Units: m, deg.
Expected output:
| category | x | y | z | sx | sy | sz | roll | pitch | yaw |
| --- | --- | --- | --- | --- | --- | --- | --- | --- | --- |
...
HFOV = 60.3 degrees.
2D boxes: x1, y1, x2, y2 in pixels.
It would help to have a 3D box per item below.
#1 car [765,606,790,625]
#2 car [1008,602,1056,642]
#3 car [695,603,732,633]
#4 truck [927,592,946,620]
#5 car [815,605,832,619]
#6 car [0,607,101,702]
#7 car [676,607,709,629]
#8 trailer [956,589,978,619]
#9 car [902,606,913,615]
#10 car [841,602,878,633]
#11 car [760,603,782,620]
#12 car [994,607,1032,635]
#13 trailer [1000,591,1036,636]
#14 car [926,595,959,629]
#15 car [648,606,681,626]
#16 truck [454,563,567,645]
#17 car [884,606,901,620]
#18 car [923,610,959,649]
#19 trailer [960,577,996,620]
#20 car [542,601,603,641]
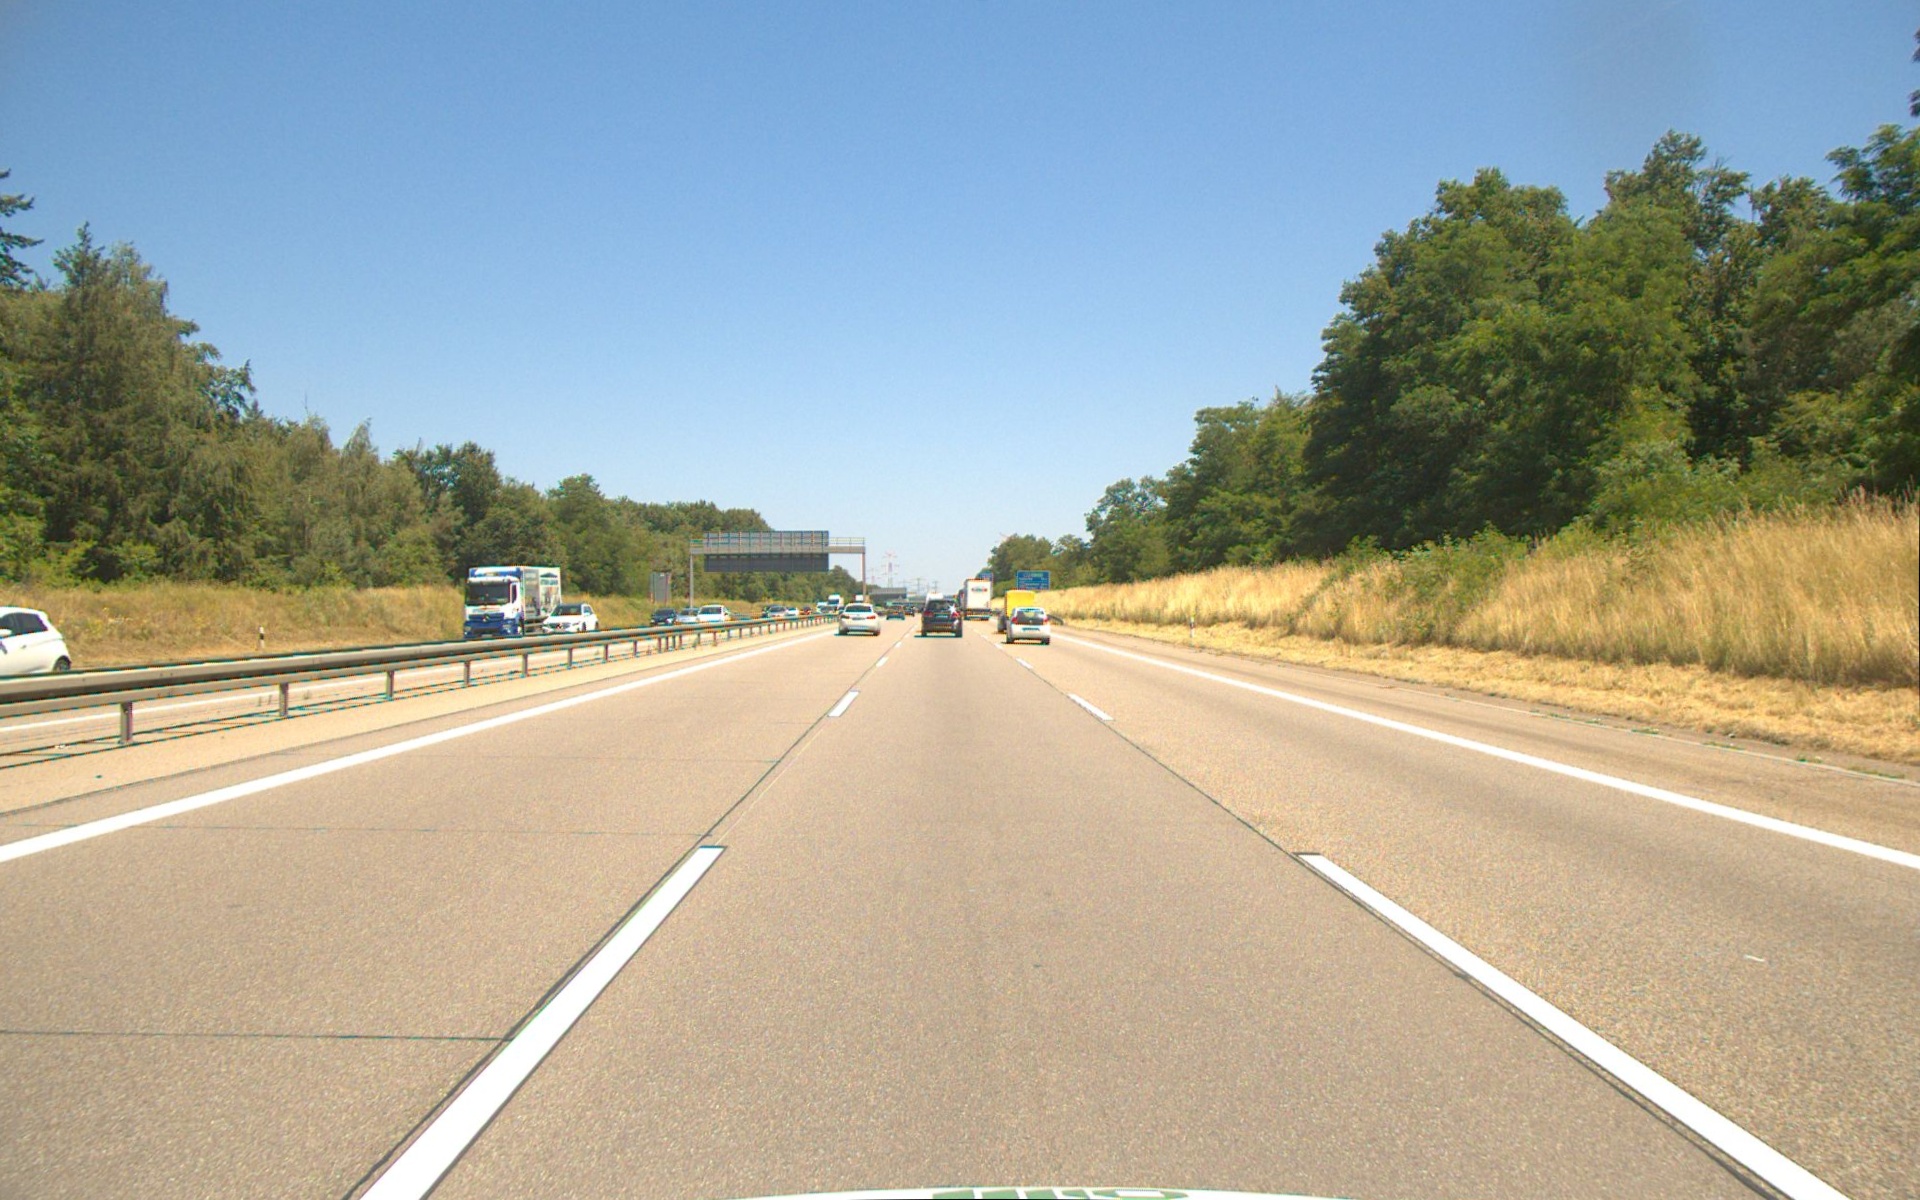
| category | x | y | z | sx | sy | sz | roll | pitch | yaw |
| --- | --- | --- | --- | --- | --- | --- | --- | --- | --- |
| car | -15.801 | 1.316 | 143.371 | 1.726 | 1.485 | 5.119 | -3 | 0 | -2 |
| car | 2.847 | 0.857 | 66.100 | 1.673 | 1.521 | 4.023 | 1 | 0 | -1 |
| car | -13.393 | 0.969 | 90.123 | 1.486 | 1.493 | 3.639 | -3 | 0 | -1 |
| truck | -2.557 | 0.685 | 179.575 | 2.018 | 2.965 | 7.001 | 0 | -1 | -1 |
| car | -16.049 | 1.404 | 194.484 | 1.664 | 1.454 | 4.572 | -3 | 0 | -2 |
| car | -16.952 | 0.967 | 28.881 | 1.572 | 1.586 | 4.468 | -3 | 0 | -1 |
| car | -18.806 | 1.247 | 116.450 | 1.726 | 1.432 | 4.351 | -3 | 0 | -2 |
| trailer | 0.969 | 0.608 | 227.085 | 2.628 | 3.904 | 12.006 | 1 | -1 | -1 |
| car | -6.741 | 1.345 | 212.424 | 1.377 | 1.151 | 3.357 | 1 | 0 | -1 |
| car | -4.656 | 0.793 | 77.059 | 1.635 | 1.426 | 3.711 | 0 | 0 | -2 |
| car | -19.604 | 1.140 | 171.417 | 1.758 | 1.647 | 4.984 | -3 | 0 | -2 |
| car | 2.952 | 1.156 | 92.931 | 1.784 | 1.481 | 4.786 | 1 | 0 | -2 |
| trailer | 3.089 | 0.720 | 88.591 | 1.669 | 2.330 | 3.838 | 1 | -1 | -2 |
| car | -1.018 | 0.685 | 91.762 | 1.777 | 1.859 | 5.109 | 0 | -1 | -1 |
| car | -22.447 | 1.198 | 125.847 | 1.621 | 1.435 | 5.175 | -3 | 0 | -1 |
| truck | -21.690 | 0.198 | 80.461 | 2.677 | 3.580 | 10.438 | -3 | 0 | -1 |
| car | -6.651 | 1.248 | 162.894 | 1.574 | 1.323 | 3.673 | 1 | 0 | -1 |
| car | -0.873 | 1.345 | 76.773 | 1.593 | 1.785 | 3.804 | 1 | 0 | -1 |
| trailer | 1.823 | -0.093 | 173.003 | 3.219 | 4.293 | 13.560 | 1 | -1 | -1 |
| car | -17.611 | 0.938 | 75.378 | 1.692 | 1.675 | 5.086 | -3 | 0 | -2 |
